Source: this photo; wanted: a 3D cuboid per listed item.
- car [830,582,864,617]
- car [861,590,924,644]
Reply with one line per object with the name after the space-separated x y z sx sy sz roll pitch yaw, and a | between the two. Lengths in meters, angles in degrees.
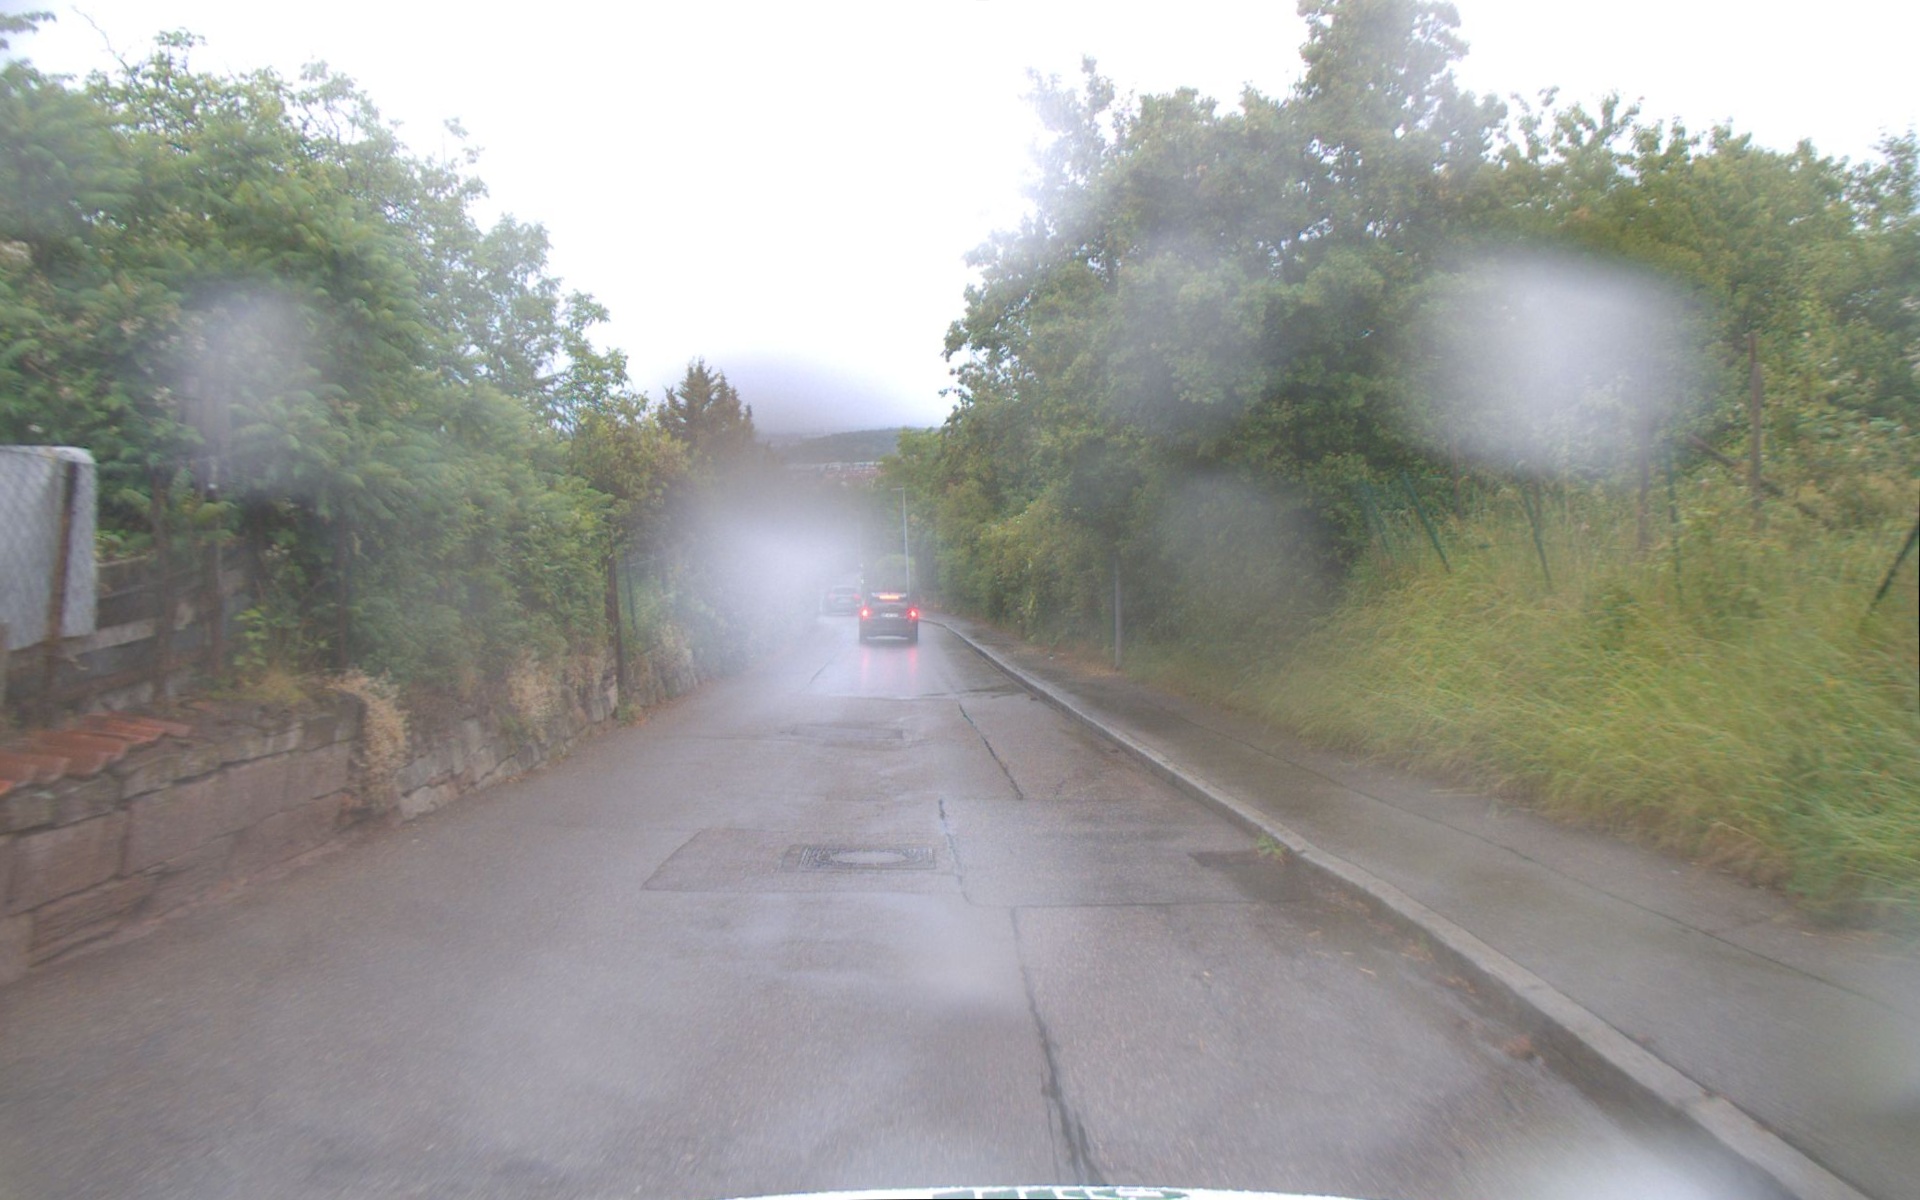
-5.792 -0.049 84.331 1.645 1.592 3.791 -1 2 -5 | car
-2.040 0.472 49.797 1.798 1.489 3.998 0 1 -3 | car
